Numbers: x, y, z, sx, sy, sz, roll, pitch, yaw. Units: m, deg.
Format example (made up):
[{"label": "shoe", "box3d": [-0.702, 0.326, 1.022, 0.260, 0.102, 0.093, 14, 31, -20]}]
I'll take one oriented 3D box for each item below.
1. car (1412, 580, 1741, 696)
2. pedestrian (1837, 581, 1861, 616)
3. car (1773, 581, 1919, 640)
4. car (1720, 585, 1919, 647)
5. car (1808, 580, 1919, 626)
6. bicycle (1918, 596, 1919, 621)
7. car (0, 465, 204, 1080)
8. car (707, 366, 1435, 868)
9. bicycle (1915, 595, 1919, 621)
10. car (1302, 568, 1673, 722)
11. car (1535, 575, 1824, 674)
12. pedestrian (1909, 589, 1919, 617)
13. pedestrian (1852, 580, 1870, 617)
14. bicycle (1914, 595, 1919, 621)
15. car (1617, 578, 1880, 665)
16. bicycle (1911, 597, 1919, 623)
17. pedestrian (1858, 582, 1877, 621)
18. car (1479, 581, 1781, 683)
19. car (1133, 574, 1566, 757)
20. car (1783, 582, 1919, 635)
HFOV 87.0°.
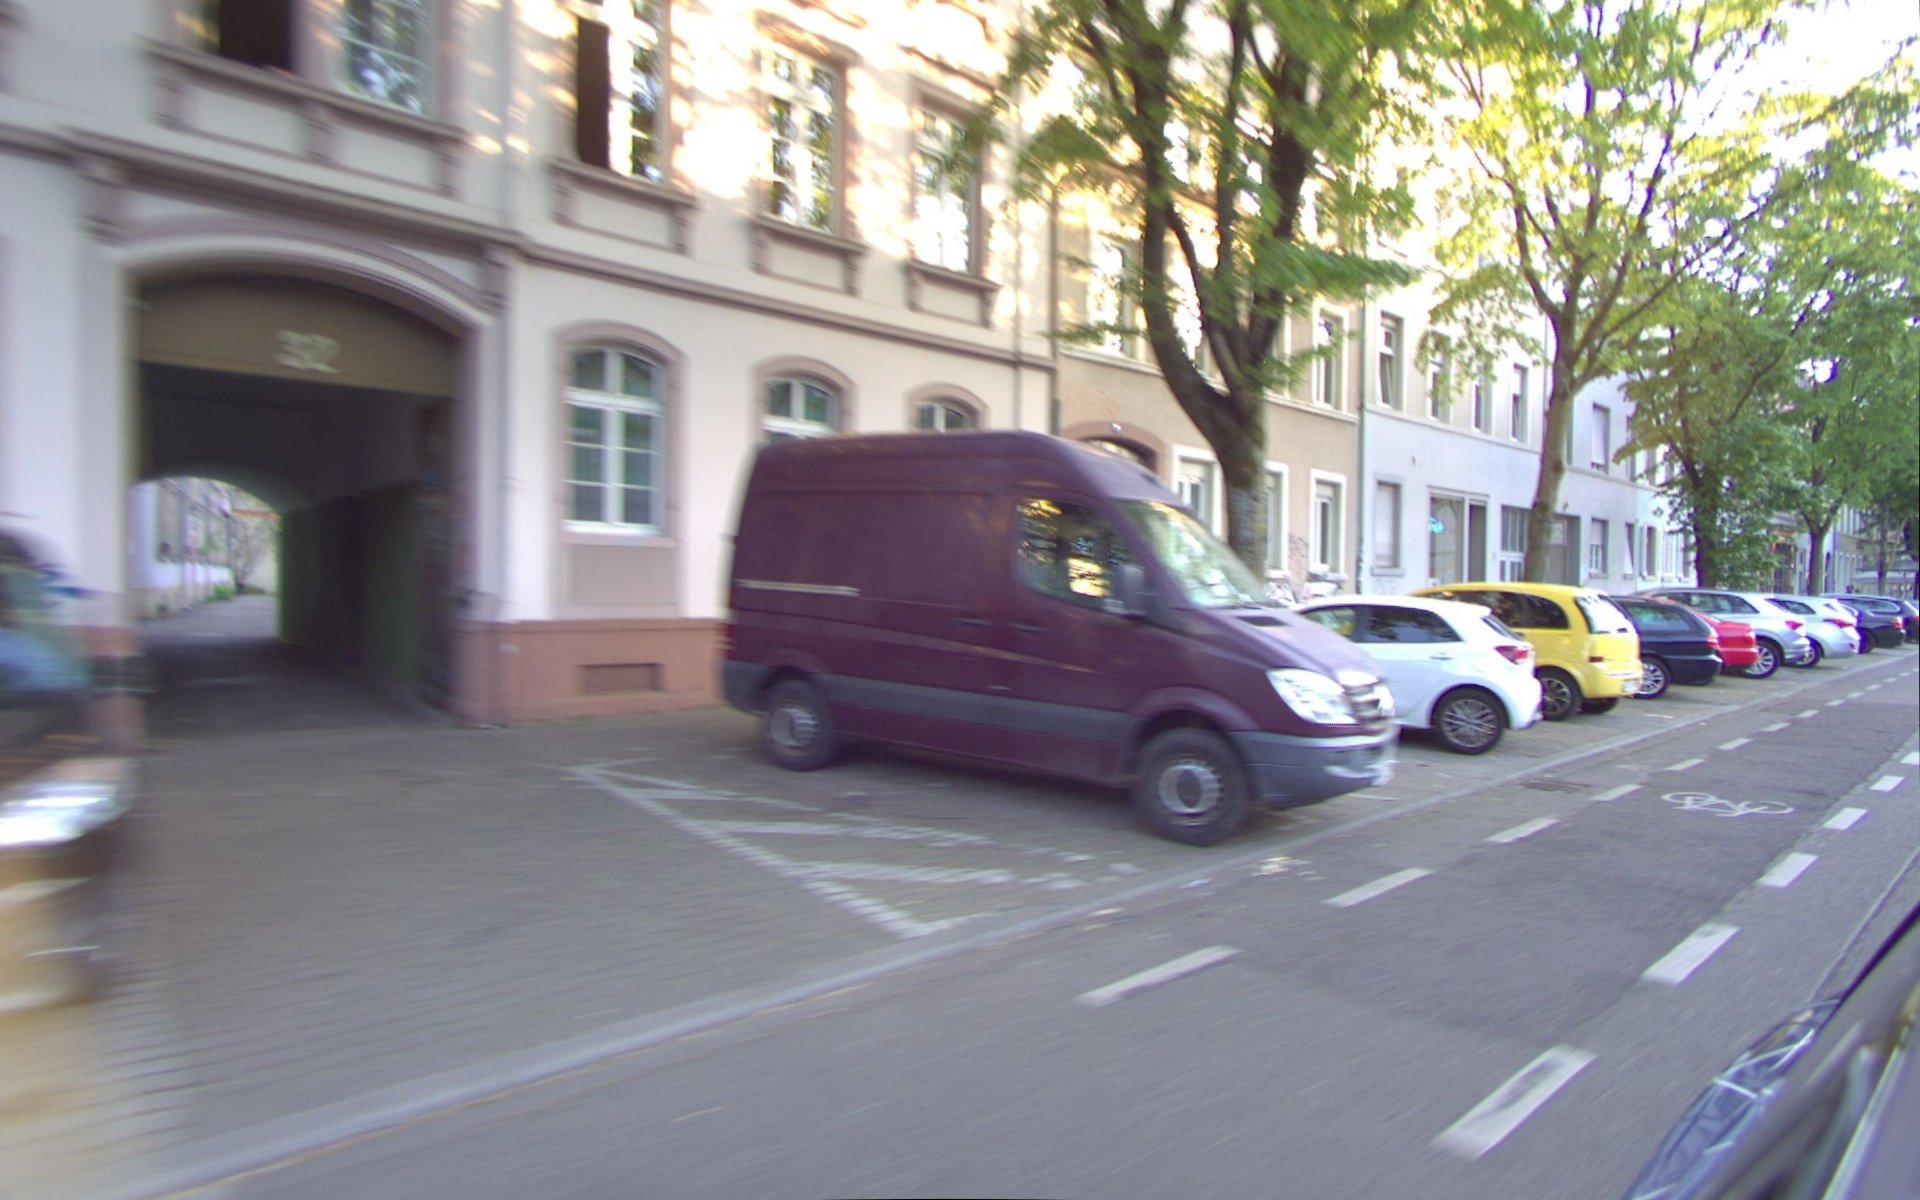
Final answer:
[{"label": "car", "box3d": [9.273, 0.495, 15.696, 4.091, 1.442, 1.905, 2, 3, 25]}, {"label": "pedestrian", "box3d": [45.236, -0.081, 51.506, 0.696, 1.785, 0.710, 0, 0, 22]}, {"label": "car", "box3d": [26.697, 0.316, 29.611, 4.088, 1.488, 1.998, 4, 3, 26]}, {"label": "car", "box3d": [23.052, 0.376, 26.835, 4.218, 1.409, 2.000, 2, 2, 24]}, {"label": "car", "box3d": [33.480, 0.133, 36.511, 4.148, 1.444, 1.801, 5, 3, 34]}, {"label": "bicycle", "box3d": [40.620, 0.416, 41.481, 0.598, 1.044, 1.890, 0, 4, -42]}, {"label": "car", "box3d": [-4.433, 0.437, 3.901, 4.012, 1.729, 1.790, 2, 2, 44]}, {"label": "car", "box3d": [0.619, -0.045, 7.629, 5.076, 2.675, 1.998, 3, 3, 33]}, {"label": "bicycle", "box3d": [39.674, 0.395, 40.626, 0.581, 1.044, 1.866, 0, 4, -42]}, {"label": "car", "box3d": [6.879, 0.446, 13.527, 1.887, 1.639, 3.960, -1, 3, -40]}, {"label": "car", "box3d": [13.602, 0.382, 19.508, 4.224, 1.579, 1.880, 3, 3, 27]}, {"label": "pedestrian", "box3d": [46.435, 0.164, 48.915, 0.546, 1.322, 0.710, 2, 2, 22]}, {"label": "pedestrian", "box3d": [44.266, -0.078, 49.724, 0.548, 1.785, 0.843, 0, 0, 32]}, {"label": "bicycle", "box3d": [40.115, 0.397, 41.105, 0.663, 1.080, 1.890, 0, 4, -42]}, {"label": "car", "box3d": [16.802, 0.369, 21.779, 4.245, 1.568, 1.991, 3, 3, 39]}, {"label": "bicycle", "box3d": [39.193, 0.467, 40.247, 0.524, 1.044, 1.907, 0, 4, -42]}, {"label": "pedestrian", "box3d": [42.066, 0.078, 46.886, 0.878, 1.785, 0.551, 0, 0, -41]}, {"label": "car", "box3d": [11.458, 0.473, 17.701, 4.091, 1.442, 1.882, 2, 3, 25]}, {"label": "car", "box3d": [4.019, 0.540, 10.751, 3.924, 1.504, 1.904, 2, 3, 26]}, {"label": "car", "box3d": [29.907, 0.285, 33.339, 4.103, 1.488, 1.802, 5, 3, 34]}]
